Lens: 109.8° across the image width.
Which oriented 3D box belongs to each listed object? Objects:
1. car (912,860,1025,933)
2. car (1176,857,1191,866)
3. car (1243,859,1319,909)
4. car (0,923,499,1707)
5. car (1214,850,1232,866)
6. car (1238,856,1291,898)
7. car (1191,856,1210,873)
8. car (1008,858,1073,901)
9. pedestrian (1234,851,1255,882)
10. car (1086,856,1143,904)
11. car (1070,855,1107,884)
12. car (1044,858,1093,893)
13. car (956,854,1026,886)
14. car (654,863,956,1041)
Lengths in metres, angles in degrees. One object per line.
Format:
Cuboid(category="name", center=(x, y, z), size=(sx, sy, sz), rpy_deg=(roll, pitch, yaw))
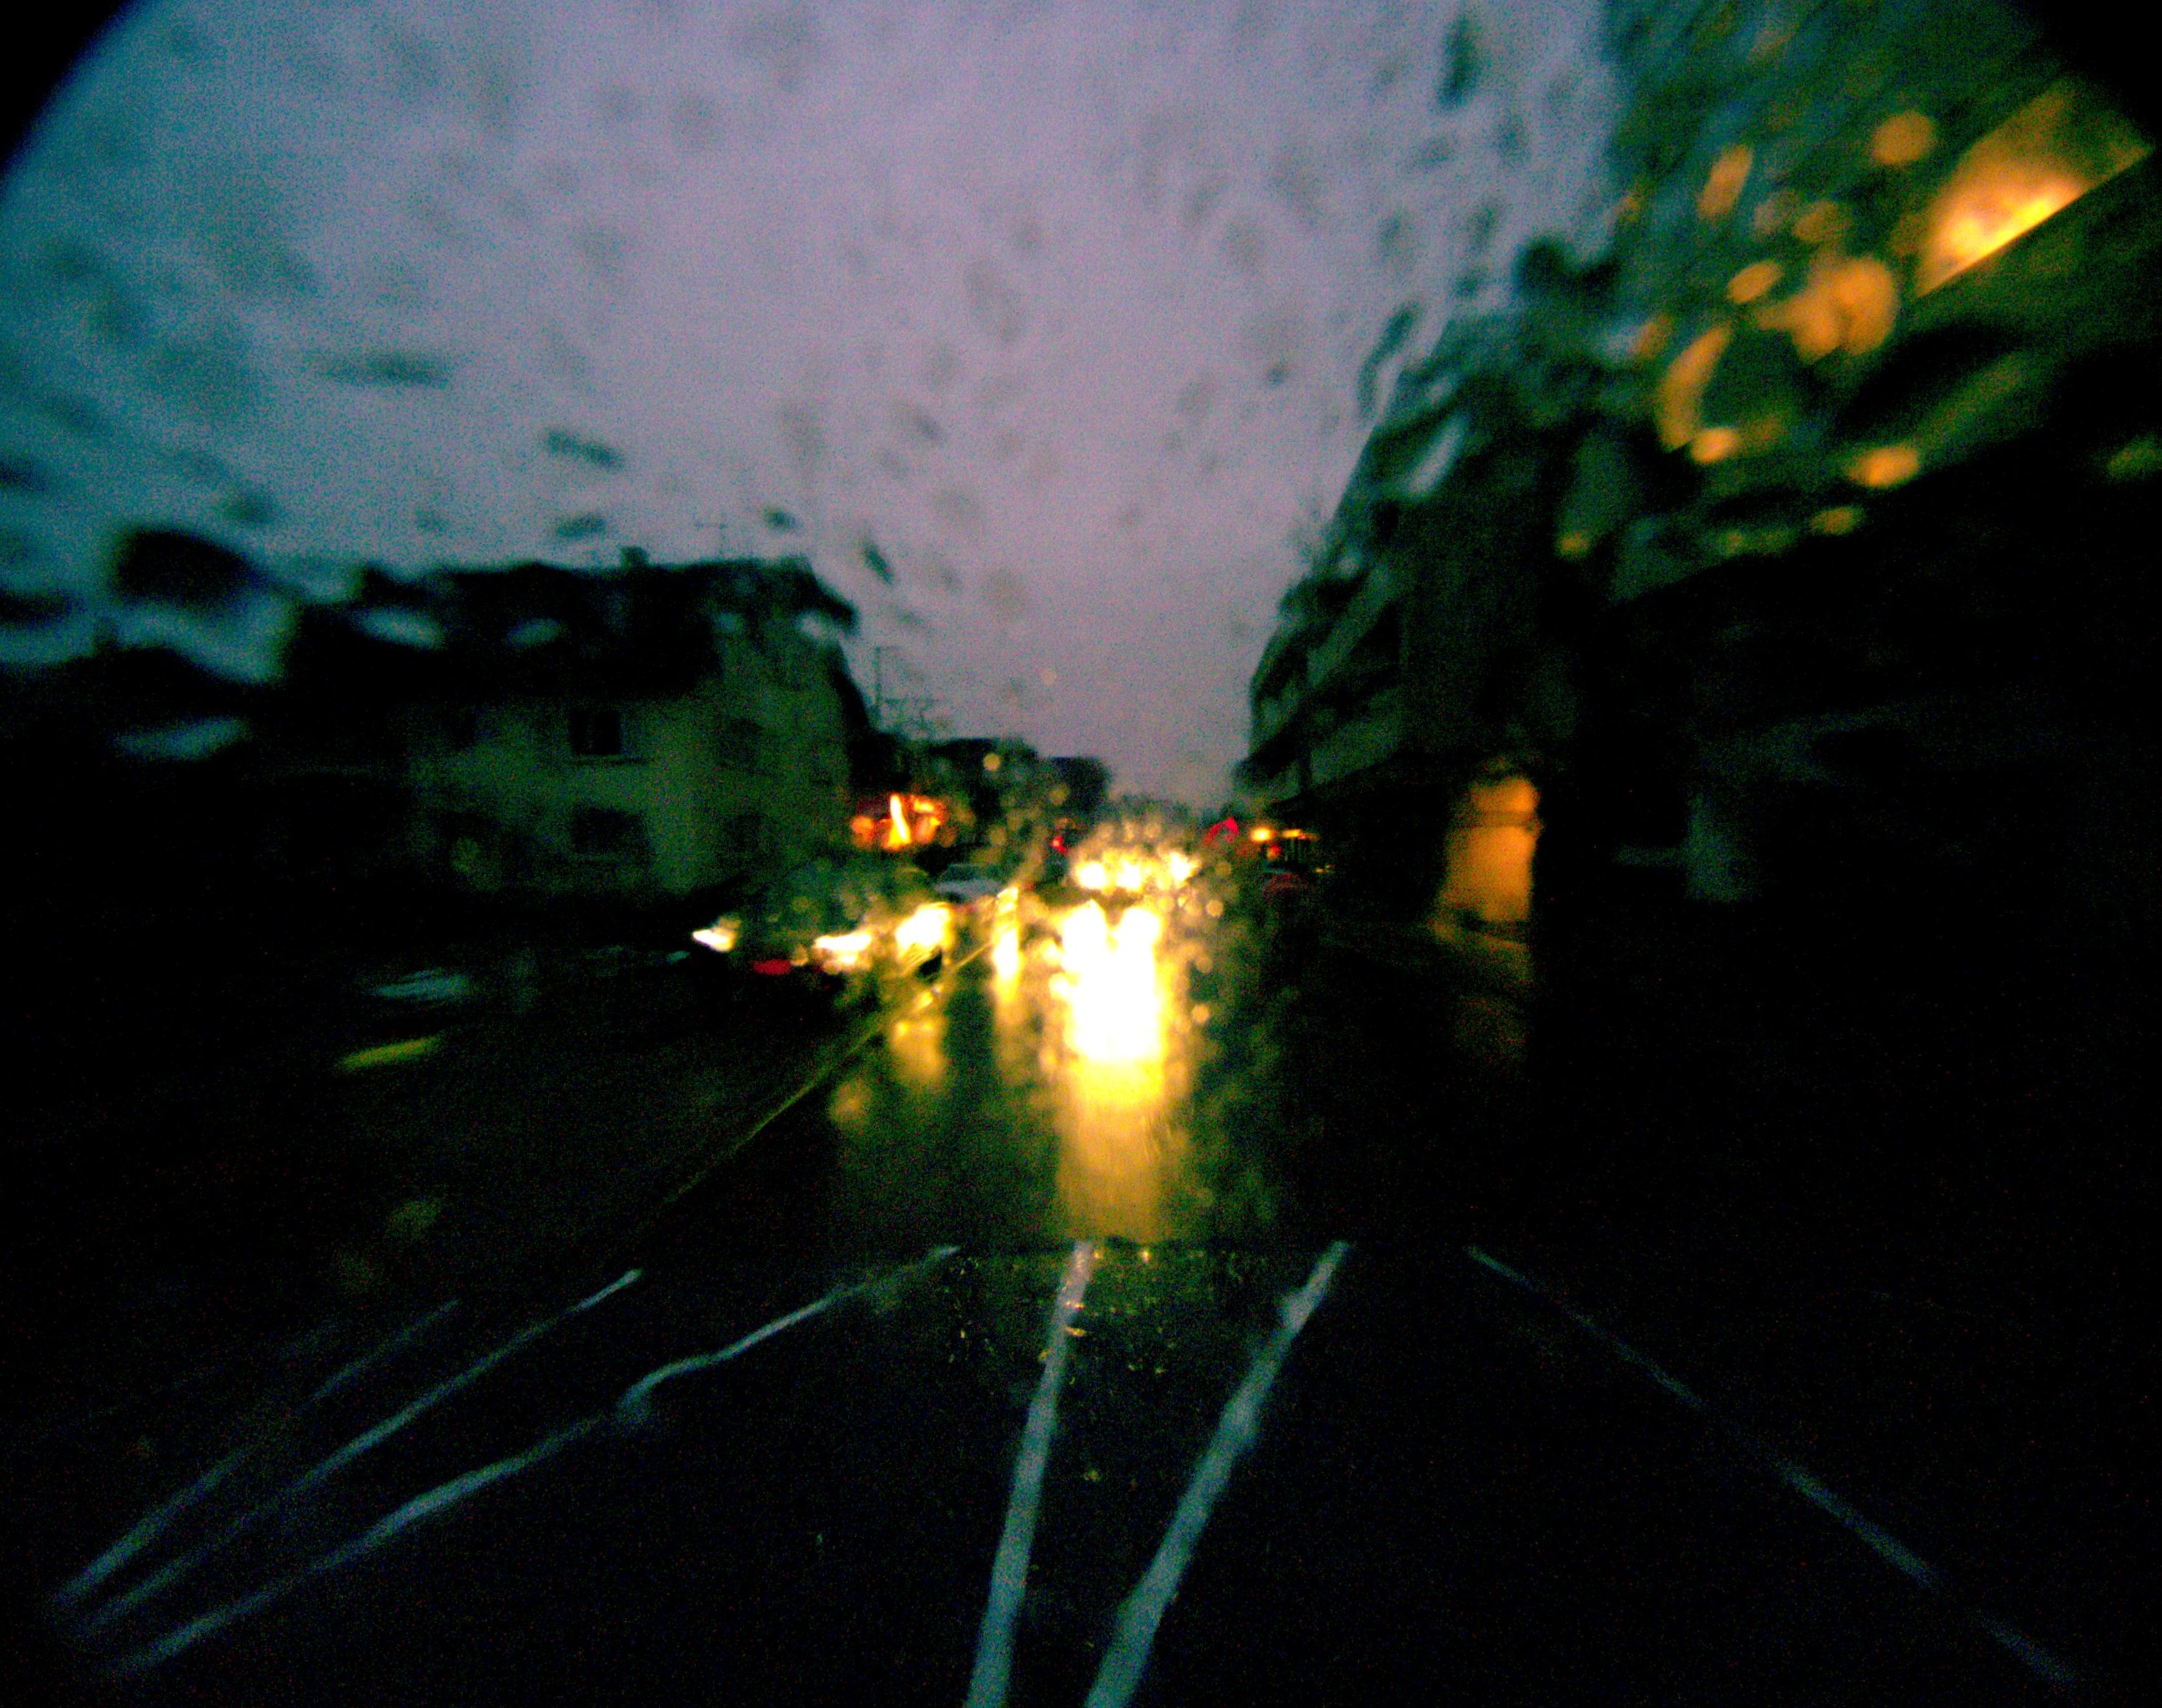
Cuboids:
Cuboid(category="car", center=(-2.578, 0.933, 18.467), size=(1.798, 1.452, 4.531), rpy_deg=(1, 0, 3))
Cuboid(category="car", center=(16.769, 1.192, 124.295), size=(1.796, 1.501, 4.005), rpy_deg=(2, 0, 14))
Cuboid(category="car", center=(6.586, 0.929, 25.449), size=(1.679, 1.438, 4.430), rpy_deg=(-3, 0, 5))
Cuboid(category="car", center=(-4.207, 0.946, 1.556), size=(4.479, 1.464, 1.897), rpy_deg=(1, 0, -3))
Cuboid(category="car", center=(24.145, 0.623, 129.107), size=(2.043, 2.643, 4.217), rpy_deg=(-2, -1, 22))
Cuboid(category="car", center=(7.381, 0.880, 30.809), size=(1.618, 1.524, 3.930), rpy_deg=(-2, 0, 7))
Cuboid(category="car", center=(11.908, 1.024, 75.916), size=(1.724, 1.604, 3.818), rpy_deg=(-2, 0, 8))
Cuboid(category="car", center=(-1.482, 0.936, 29.459), size=(1.826, 1.415, 4.610), rpy_deg=(2, 1, 5))
Cuboid(category="pedestrian", center=(10.135, 0.756, 47.137), size=(1.200, 1.927, 0.977), rpy_deg=(0, 0, 14))
Cuboid(category="car", center=(1.293, 0.871, 27.558), size=(1.878, 1.622, 4.002), rpy_deg=(0, 0, 5))
Cuboid(category="car", center=(0.469, 0.854, 44.118), size=(1.768, 1.518, 4.391), rpy_deg=(2, 1, 5))
Cuboid(category="car", center=(-0.512, 0.937, 34.940), size=(1.629, 1.433, 3.802), rpy_deg=(2, 1, 8))
Cuboid(category="car", center=(-4.690, 0.834, 40.011), size=(3.296, 1.433, 1.687), rpy_deg=(3, 1, 5))
Cuboid(category="car", center=(-2.881, 0.919, 9.215), size=(1.887, 1.538, 4.671), rpy_deg=(1, 0, 1))
